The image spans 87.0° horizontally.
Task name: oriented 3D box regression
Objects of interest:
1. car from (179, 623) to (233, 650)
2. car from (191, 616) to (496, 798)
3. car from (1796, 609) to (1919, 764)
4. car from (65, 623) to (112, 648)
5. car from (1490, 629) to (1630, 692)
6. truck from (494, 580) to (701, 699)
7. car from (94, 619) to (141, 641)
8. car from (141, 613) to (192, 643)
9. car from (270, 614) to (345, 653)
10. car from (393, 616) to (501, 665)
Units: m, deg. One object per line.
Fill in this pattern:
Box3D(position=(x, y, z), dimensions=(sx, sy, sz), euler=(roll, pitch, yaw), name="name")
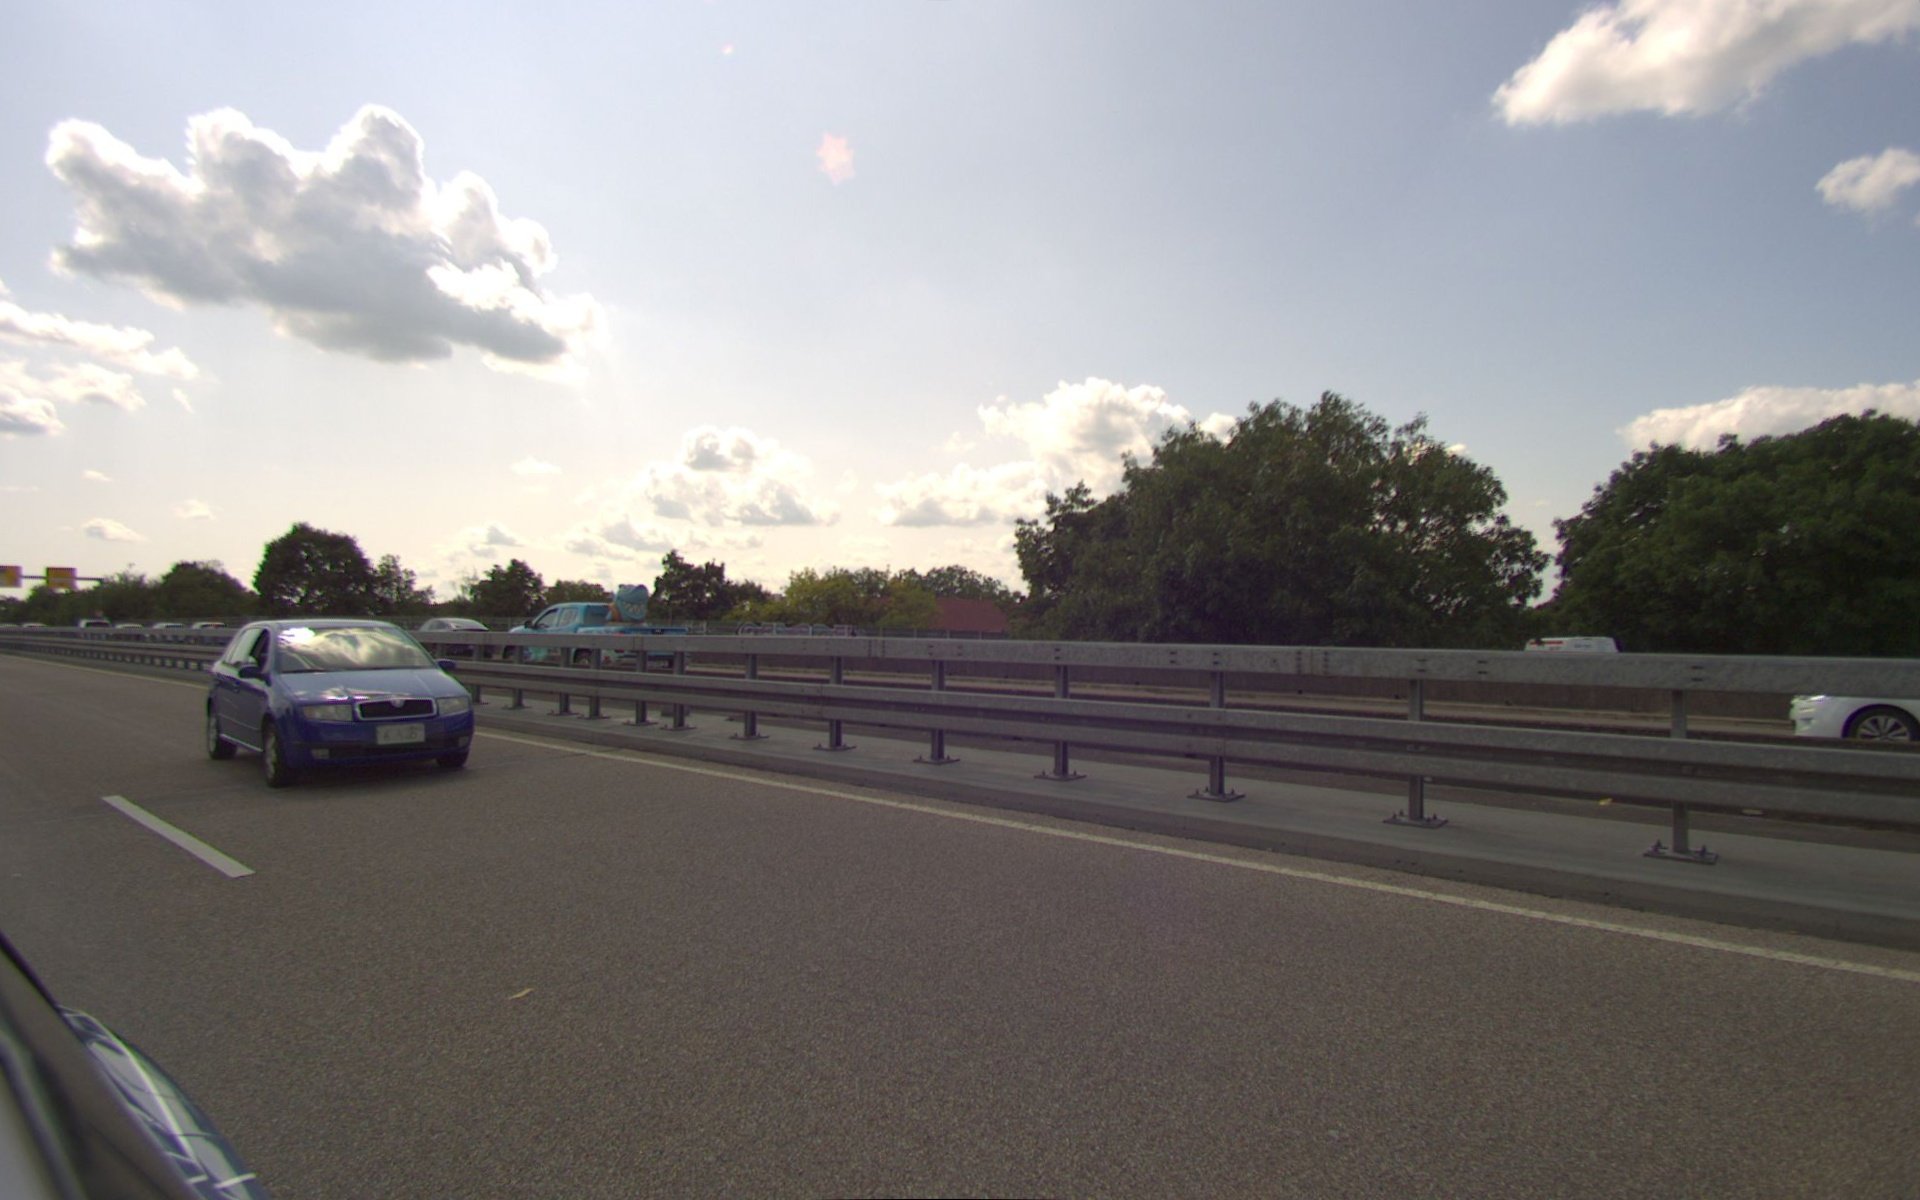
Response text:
Box3D(position=(-43.207, 2.091, 57.988), dimensions=(3.627, 1.486, 1.582), euler=(-1, -4, 39), name="car")
Box3D(position=(-6.186, 0.889, 9.985), dimensions=(3.771, 1.422, 1.604), euler=(-1, 0, 43), name="car")
Box3D(position=(11.401, 0.902, 10.629), dimensions=(3.953, 1.593, 1.810), euler=(-1, 0, 42), name="car")
Box3D(position=(-70.855, 2.897, 82.232), dimensions=(5.185, 1.940, 1.941), euler=(-2, 0, 38), name="car")
Box3D(position=(21.033, 2.067, 35.784), dimensions=(1.973, 1.912, 5.164), euler=(-1, 0, 2), name="car")
Box3D(position=(-7.712, 0.766, 21.221), dimensions=(5.187, 2.203, 1.853), euler=(-1, 0, 42), name="truck")
Box3D(position=(-58.446, 2.099, 70.158), dimensions=(4.042, 1.400, 1.767), euler=(-3, -1, 39), name="car")
Box3D(position=(-50.005, 1.782, 63.764), dimensions=(4.405, 1.724, 1.566), euler=(-3, -1, 39), name="car")
Box3D(position=(-29.785, 1.489, 46.172), dimensions=(3.997, 1.651, 1.803), euler=(-1, 0, 41), name="car")
Box3D(position=(-18.964, 1.452, 37.312), dimensions=(4.507, 1.652, 1.872), euler=(-1, 0, 39), name="car")
